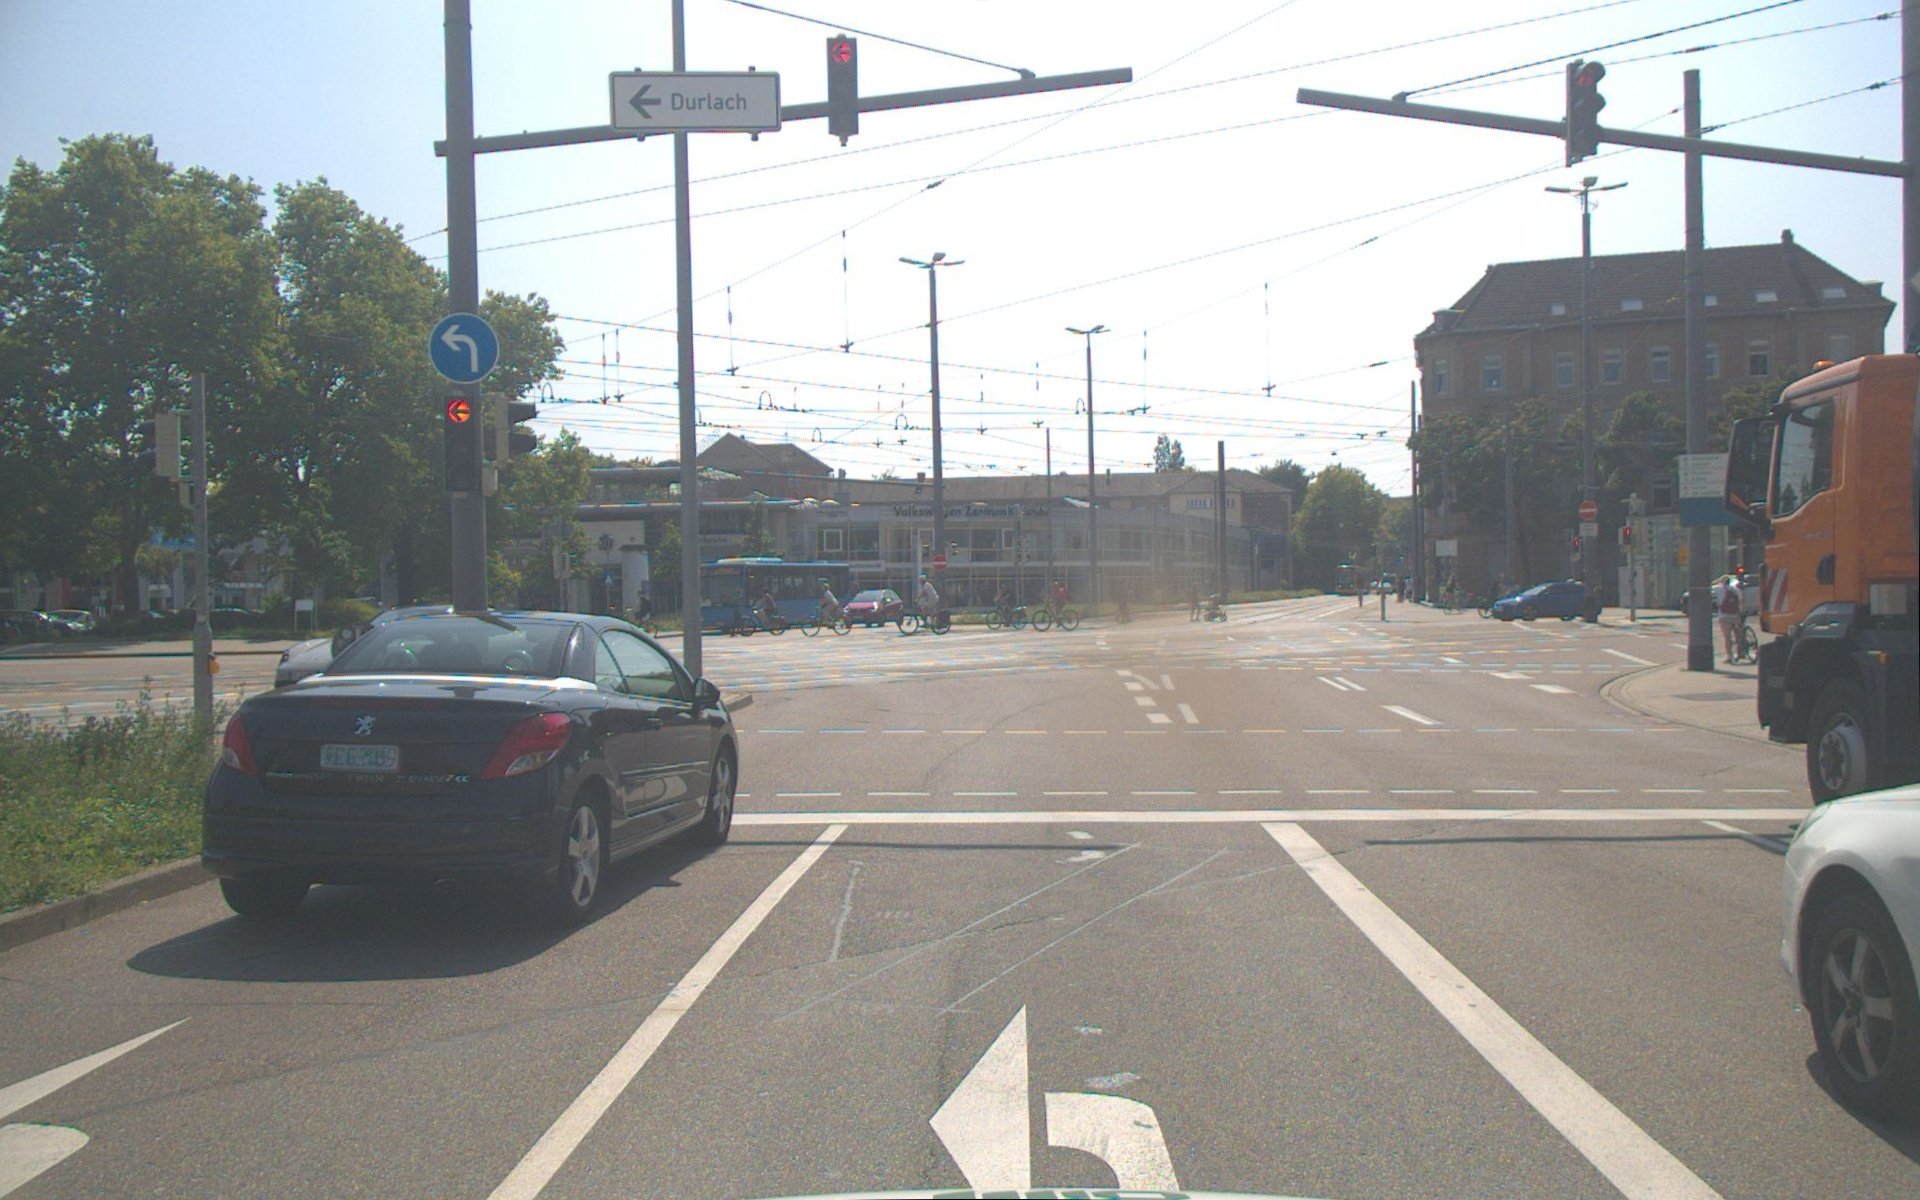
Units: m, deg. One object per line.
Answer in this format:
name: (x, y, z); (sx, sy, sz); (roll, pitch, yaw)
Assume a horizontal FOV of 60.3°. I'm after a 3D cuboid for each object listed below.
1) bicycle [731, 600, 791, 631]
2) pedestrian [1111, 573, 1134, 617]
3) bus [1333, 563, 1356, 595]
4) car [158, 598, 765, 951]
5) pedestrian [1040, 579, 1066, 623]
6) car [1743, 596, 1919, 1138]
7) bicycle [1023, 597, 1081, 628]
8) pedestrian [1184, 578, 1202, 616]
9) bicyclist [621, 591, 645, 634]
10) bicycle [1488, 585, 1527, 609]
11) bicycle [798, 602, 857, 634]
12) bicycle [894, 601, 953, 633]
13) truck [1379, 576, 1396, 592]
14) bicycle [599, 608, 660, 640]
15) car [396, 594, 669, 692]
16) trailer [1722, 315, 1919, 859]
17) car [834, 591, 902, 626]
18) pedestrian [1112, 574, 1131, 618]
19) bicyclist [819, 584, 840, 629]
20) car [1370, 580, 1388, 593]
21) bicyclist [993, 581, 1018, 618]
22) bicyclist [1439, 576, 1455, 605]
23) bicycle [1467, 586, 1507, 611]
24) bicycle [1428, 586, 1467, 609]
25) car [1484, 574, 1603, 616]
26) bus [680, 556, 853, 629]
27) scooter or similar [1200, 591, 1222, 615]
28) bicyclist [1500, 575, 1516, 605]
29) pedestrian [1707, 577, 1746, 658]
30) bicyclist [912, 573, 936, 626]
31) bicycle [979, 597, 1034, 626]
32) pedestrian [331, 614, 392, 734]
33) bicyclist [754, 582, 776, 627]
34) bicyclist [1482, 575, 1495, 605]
bicycle: (-7.545, 0.579, 62.729); (2.160, 1.106, 0.760); (-1, 0, -14)
pedestrian: (6.741, -0.206, 68.695); (0.767, 1.782, 0.809); (-1, 0, 17)
bus: (45.512, -2.476, 195.652); (2.507, 3.567, 7.808); (-1, 0, 13)
car: (-2.328, 0.722, 8.884); (1.720, 1.429, 3.983); (0, 0, 6)
pedestrian: (3.292, 0.035, 58.365); (0.653, 1.561, 0.709); (-1, 0, -23)
car: (3.450, 0.742, 3.417); (1.721, 1.480, 4.427); (0, 0, 2)
bicycle: (3.246, 0.441, 58.338); (1.952, 1.036, 0.709); (-1, 0, -24)
pedestrian: (9.814, -0.127, 69.749); (0.622, 1.588, 0.747); (-1, 0, 0)
bicyclist: (-12.204, 0.456, 61.747); (0.785, 1.568, 0.759); (-1, 0, -17)
bicycle: (23.223, -0.119, 70.160); (1.558, 1.002, 0.507); (-1, 0, 22)
bicycle: (-4.527, 0.616, 56.513); (1.938, 1.036, 0.714); (-1, 0, -1)
bicycle: (-1.257, 0.575, 56.643); (1.942, 1.036, 0.713); (-1, 0, -10)
truck: (55.568, -2.109, 214.898); (2.069, 2.049, 5.106); (-1, 0, 16)
bicycle: (-12.340, 0.888, 61.703); (2.162, 1.106, 0.759); (-1, 0, -18)
car: (-6.878, 0.652, 27.167); (1.901, 1.424, 4.585); (-1, 0, 24)
trailer: (6.583, -0.067, 8.781); (2.411, 3.060, 6.328); (0, 0, 3)
car: (-3.915, 0.350, 70.934); (1.691, 1.444, 3.843); (-1, 0, 16)
pedestrian: (6.610, -0.158, 67.747); (0.609, 1.782, 0.628); (-1, 0, 18)
bicyclist: (-4.449, 0.214, 56.509); (0.650, 1.535, 0.714); (-1, 0, -1)
car: (50.853, -1.613, 200.899); (1.951, 1.509, 4.004); (-1, 0, 12)
bicyclist: (1.712, -0.005, 62.131); (0.659, 1.374, 0.707); (-1, 0, -23)
bicyclist: (21.583, -0.406, 73.341); (0.581, 1.269, 0.507); (-1, 0, 4)
bicycle: (21.807, -0.082, 68.482); (1.557, 1.002, 0.507); (-1, 0, 18)
bicycle: (21.609, -0.114, 73.340); (1.557, 1.002, 0.507); (-1, 0, 3)
car: (21.757, -0.182, 61.682); (3.823, 1.444, 1.730); (-1, 0, -9)
bus: (-8.399, -0.370, 74.177); (2.989, 2.982, 11.859); (-1, 0, 18)
scooter or similar: (10.580, 0.126, 69.750); (0.818, 0.991, 0.793); (-1, 0, 0)
bicyclist: (23.253, -0.425, 70.149); (0.582, 1.269, 0.507); (-1, 0, 22)
pedestrian: (14.562, 0.322, 31.422); (0.432, 1.503, 0.532); (-2, 2, -21)
bicyclist: (-1.226, -0.020, 56.645); (0.691, 1.794, 0.713); (-1, 0, -9)
bicycle: (1.740, 0.433, 62.113); (1.952, 1.036, 0.709); (-1, 0, -24)
pedestrian: (-6.773, 0.827, 18.744); (0.586, 1.290, 0.503); (-1, 2, -17)
bicyclist: (-7.401, 0.165, 62.764); (0.749, 1.662, 0.760); (-1, 0, -14)
bicyclist: (21.860, -0.406, 68.465); (0.492, 1.209, 0.507); (-1, 0, 18)
